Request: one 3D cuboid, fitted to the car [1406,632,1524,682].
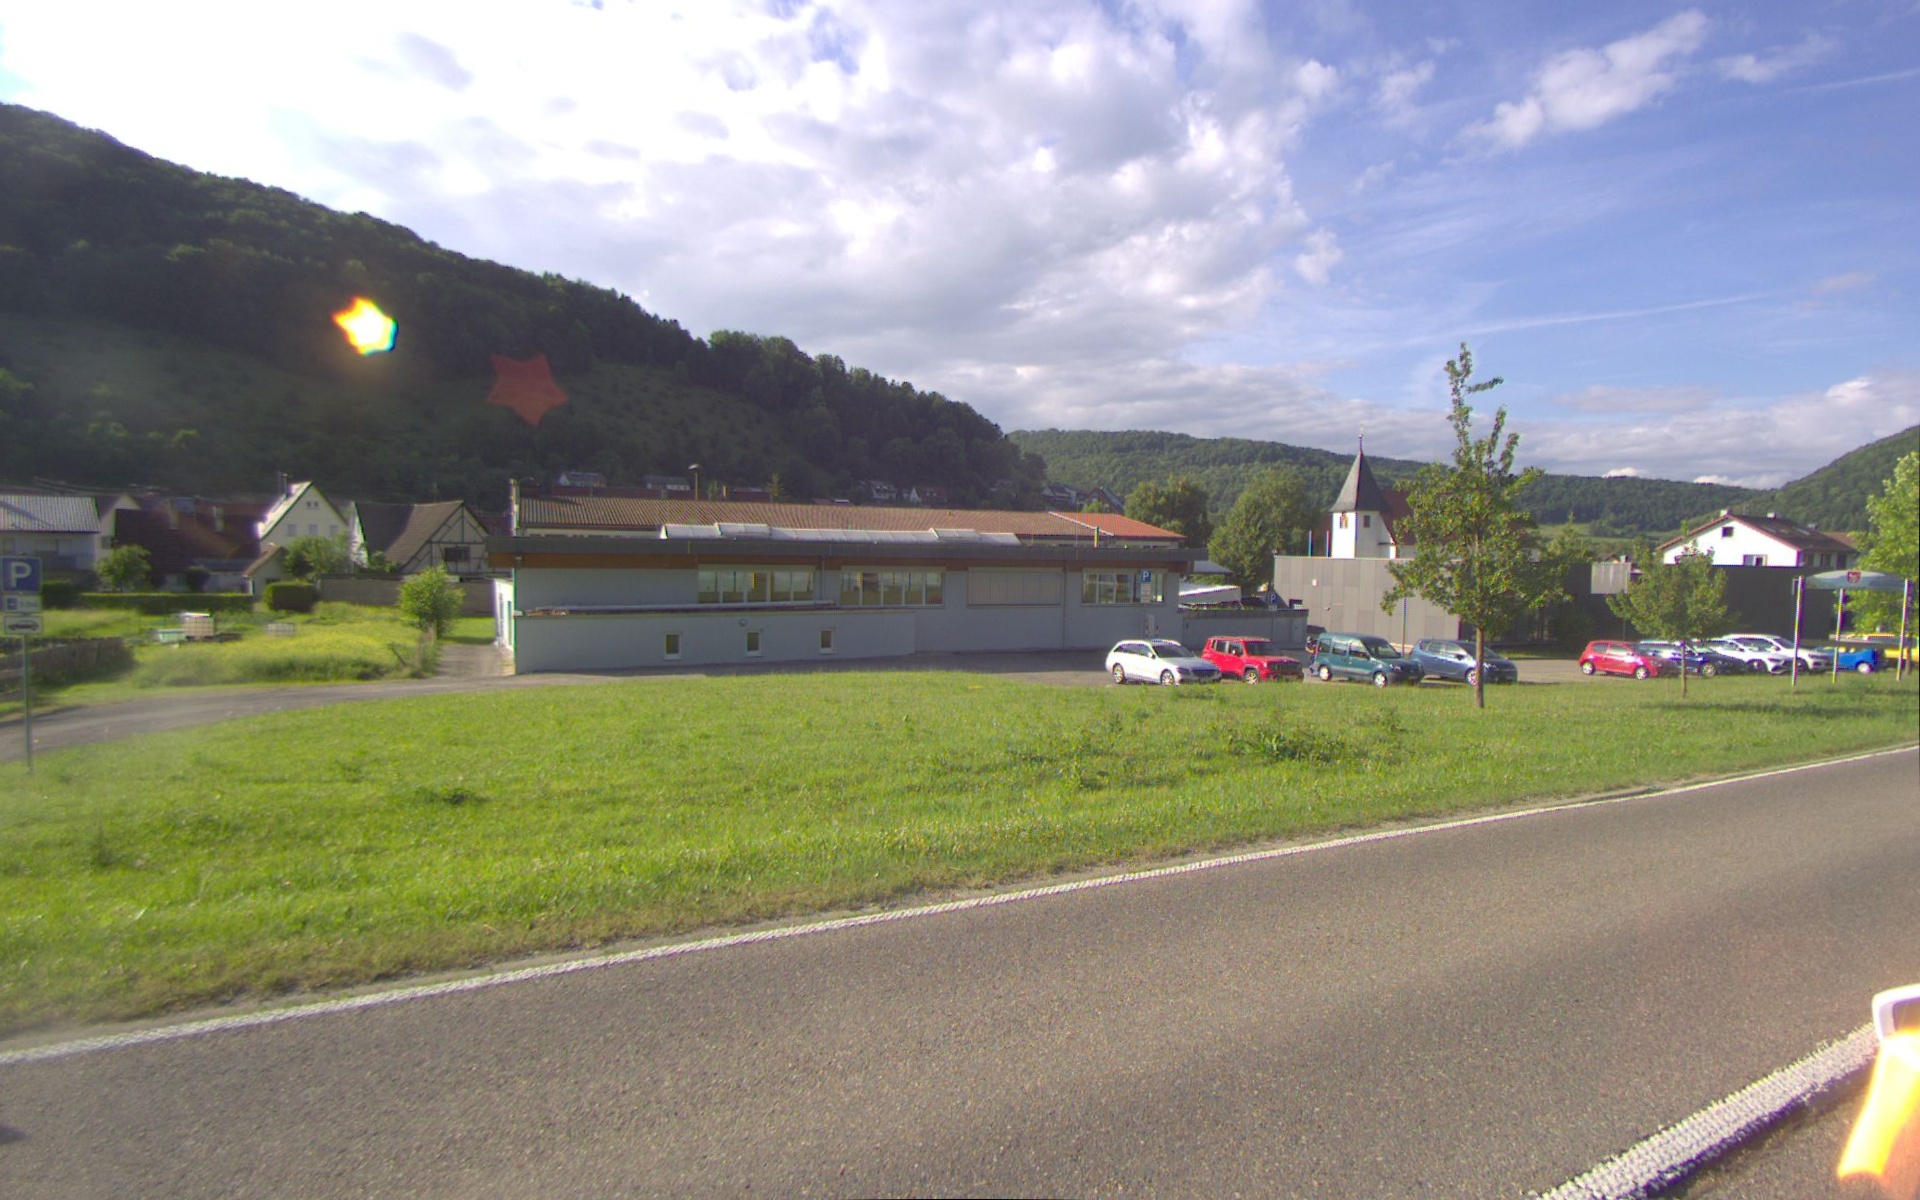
[{"bbox_3d":[19.121,2.129,38.191,1.708,1.744,3.809,1,-1,-23],"label":"car"}]

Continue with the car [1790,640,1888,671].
[{"bbox_3d":[43.744,2.750,50.054,1.641,1.392,3.353,1,-1,-30],"label":"car"}]

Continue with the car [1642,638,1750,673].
[{"bbox_3d":[32.672,2.447,44.664,1.574,1.423,3.617,1,-1,-22],"label":"car"}]

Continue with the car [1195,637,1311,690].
[{"bbox_3d":[9.883,2.121,34.179,1.731,1.600,3.910,1,-1,-23],"label":"car"}]

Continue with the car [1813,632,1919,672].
[{"bbox_3d":[46.117,2.592,50.564,1.814,1.839,4.544,1,-1,-22],"label":"car"}]

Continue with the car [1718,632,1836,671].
[{"bbox_3d":[38.442,2.392,47.363,1.574,1.695,4.069,1,-1,-22],"label":"car"}]

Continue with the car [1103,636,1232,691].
[{"bbox_3d":[6.875,2.075,33.785,1.972,1.610,4.629,1,-1,-23],"label":"car"}]

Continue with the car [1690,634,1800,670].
[{"bbox_3d":[35.658,2.318,45.722,1.574,1.513,3.659,1,-1,-22],"label":"car"}]

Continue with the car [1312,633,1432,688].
[{"bbox_3d":[14.886,2.133,36.495,1.732,1.745,3.849,1,0,-25],"label":"car"}]

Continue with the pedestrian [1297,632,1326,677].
[{"bbox_3d":[13.851,2.134,39.580,0.697,1.716,0.790,1,1,-31],"label":"pedestrian"}]

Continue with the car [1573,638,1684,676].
[{"bbox_3d":[28.150,2.377,42.401,1.624,1.463,3.617,1,-1,-22],"label":"car"}]
